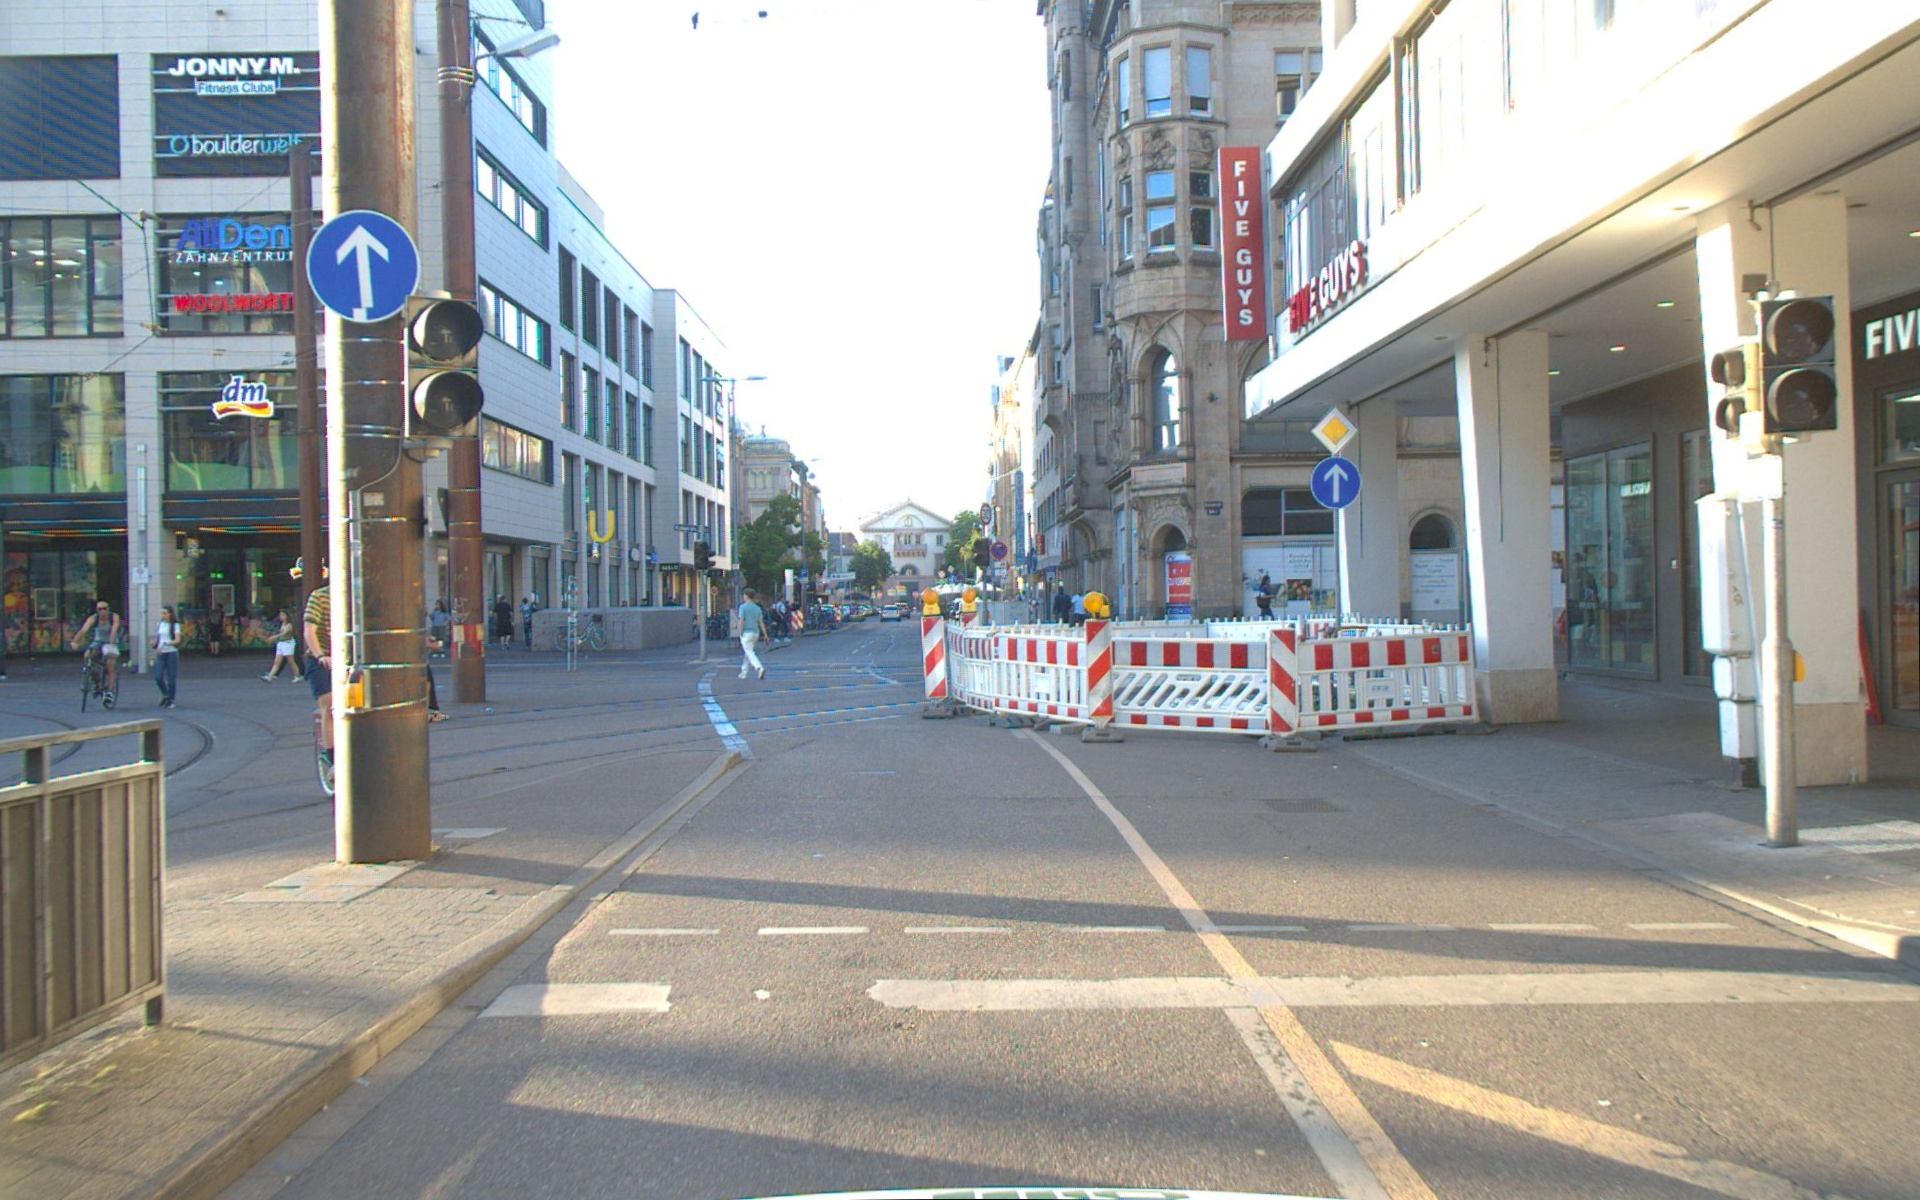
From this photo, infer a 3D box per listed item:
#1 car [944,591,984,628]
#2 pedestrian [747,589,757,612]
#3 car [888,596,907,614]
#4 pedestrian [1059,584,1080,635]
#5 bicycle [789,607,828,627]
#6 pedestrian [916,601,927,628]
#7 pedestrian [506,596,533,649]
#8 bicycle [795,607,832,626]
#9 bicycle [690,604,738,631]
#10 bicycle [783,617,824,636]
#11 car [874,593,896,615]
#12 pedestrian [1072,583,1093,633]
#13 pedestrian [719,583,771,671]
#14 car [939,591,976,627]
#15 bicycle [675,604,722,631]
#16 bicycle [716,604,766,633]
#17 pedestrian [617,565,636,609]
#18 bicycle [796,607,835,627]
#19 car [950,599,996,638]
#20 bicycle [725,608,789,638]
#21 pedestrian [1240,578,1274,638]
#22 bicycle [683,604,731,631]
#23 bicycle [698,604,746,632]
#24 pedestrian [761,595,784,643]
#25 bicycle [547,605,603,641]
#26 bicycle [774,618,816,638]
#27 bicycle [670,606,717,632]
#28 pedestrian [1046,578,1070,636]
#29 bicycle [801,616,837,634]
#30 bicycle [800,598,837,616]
[{"bbox_3d":[0.159,0.416,74.480,1.645,1.574,3.672,-2,0,-1],"label":"car"},{"bbox_3d":[-15.425,0.032,122.863,0.666,1.649,0.573,-1,0,-2],"label":"pedestrian"},{"bbox_3d":[-6.644,0.527,176.462,1.953,1.937,3.999,0,0,-2],"label":"car"},{"bbox_3d":[3.771,0.323,56.849,0.612,1.719,0.671,-1,0,-3],"label":"pedestrian"},{"bbox_3d":[-8.623,0.972,94.247,2.104,1.047,0.640,-1,0,0],"label":"bicycle"},{"bbox_3d":[-2.695,1.016,115.543,0.592,1.855,0.448,-1,0,-28],"label":"pedestrian"},{"bbox_3d":[-14.822,0.755,55.700,0.766,1.782,0.600,0,0,-4],"label":"pedestrian"},{"bbox_3d":[-8.477,0.974,95.771,2.104,1.047,0.640,-1,0,0],"label":"bicycle"},{"bbox_3d":[-10.408,0.751,70.071,1.946,1.141,0.552,0,0,-30],"label":"bicycle"},{"bbox_3d":[-8.466,1.446,89.415,2.104,0.970,0.640,-1,0,0],"label":"bicycle"},{"bbox_3d":[-6.956,0.373,153.425,1.953,1.937,3.999,0,0,-2],"label":"car"},{"bbox_3d":[4.262,0.290,57.575,0.612,1.719,0.626,-1,0,-3],"label":"pedestrian"},{"bbox_3d":[-4.436,0.549,34.157,0.847,1.792,0.768,0,0,11],"label":"pedestrian"},{"bbox_3d":[-0.161,0.436,80.559,1.645,1.641,4.027,-2,0,-1],"label":"car"},{"bbox_3d":[-11.271,0.751,71.283,1.946,1.141,0.552,0,0,-30],"label":"bicycle"},{"bbox_3d":[-8.985,0.751,67.892,1.946,1.141,0.552,0,0,-30],"label":"bicycle"},{"bbox_3d":[-12.931,-0.509,64.136,0.667,1.710,0.600,0,0,-4],"label":"pedestrian"},{"bbox_3d":[-8.300,0.973,95.045,2.104,1.047,0.640,-1,0,0],"label":"bicycle"},{"bbox_3d":[0.489,0.702,63.885,1.645,1.449,3.672,0,0,-1],"label":"car"},{"bbox_3d":[-9.518,1.070,77.692,2.853,1.277,0.797,-2,0,-28],"label":"bicycle"},{"bbox_3d":[8.209,0.212,45.752,0.803,1.639,0.713,0,0,-2],"label":"pedestrian"},{"bbox_3d":[-10.812,0.751,70.689,1.946,1.141,0.552,0,0,-30],"label":"bicycle"},{"bbox_3d":[-9.999,0.751,69.440,1.946,1.141,0.552,0,0,-30],"label":"bicycle"},{"bbox_3d":[-7.059,0.707,62.291,0.819,1.751,0.680,-1,0,-9],"label":"pedestrian"},{"bbox_3d":[-12.274,0.717,52.717,1.661,1.141,0.451,0,0,1],"label":"bicycle"},{"bbox_3d":[-8.599,1.442,86.299,2.104,0.970,0.640,-1,0,0],"label":"bicycle"},{"bbox_3d":[-11.638,0.824,72.221,1.946,1.141,0.552,0,0,-30],"label":"bicycle"},{"bbox_3d":[2.989,0.210,50.307,0.612,1.719,0.671,-1,0,-3],"label":"pedestrian"},{"bbox_3d":[-8.483,1.514,99.686,2.104,1.047,0.640,-1,0,0],"label":"bicycle"},{"bbox_3d":[-8.387,0.405,97.830,2.104,1.047,0.640,-1,0,0],"label":"bicycle"}]
